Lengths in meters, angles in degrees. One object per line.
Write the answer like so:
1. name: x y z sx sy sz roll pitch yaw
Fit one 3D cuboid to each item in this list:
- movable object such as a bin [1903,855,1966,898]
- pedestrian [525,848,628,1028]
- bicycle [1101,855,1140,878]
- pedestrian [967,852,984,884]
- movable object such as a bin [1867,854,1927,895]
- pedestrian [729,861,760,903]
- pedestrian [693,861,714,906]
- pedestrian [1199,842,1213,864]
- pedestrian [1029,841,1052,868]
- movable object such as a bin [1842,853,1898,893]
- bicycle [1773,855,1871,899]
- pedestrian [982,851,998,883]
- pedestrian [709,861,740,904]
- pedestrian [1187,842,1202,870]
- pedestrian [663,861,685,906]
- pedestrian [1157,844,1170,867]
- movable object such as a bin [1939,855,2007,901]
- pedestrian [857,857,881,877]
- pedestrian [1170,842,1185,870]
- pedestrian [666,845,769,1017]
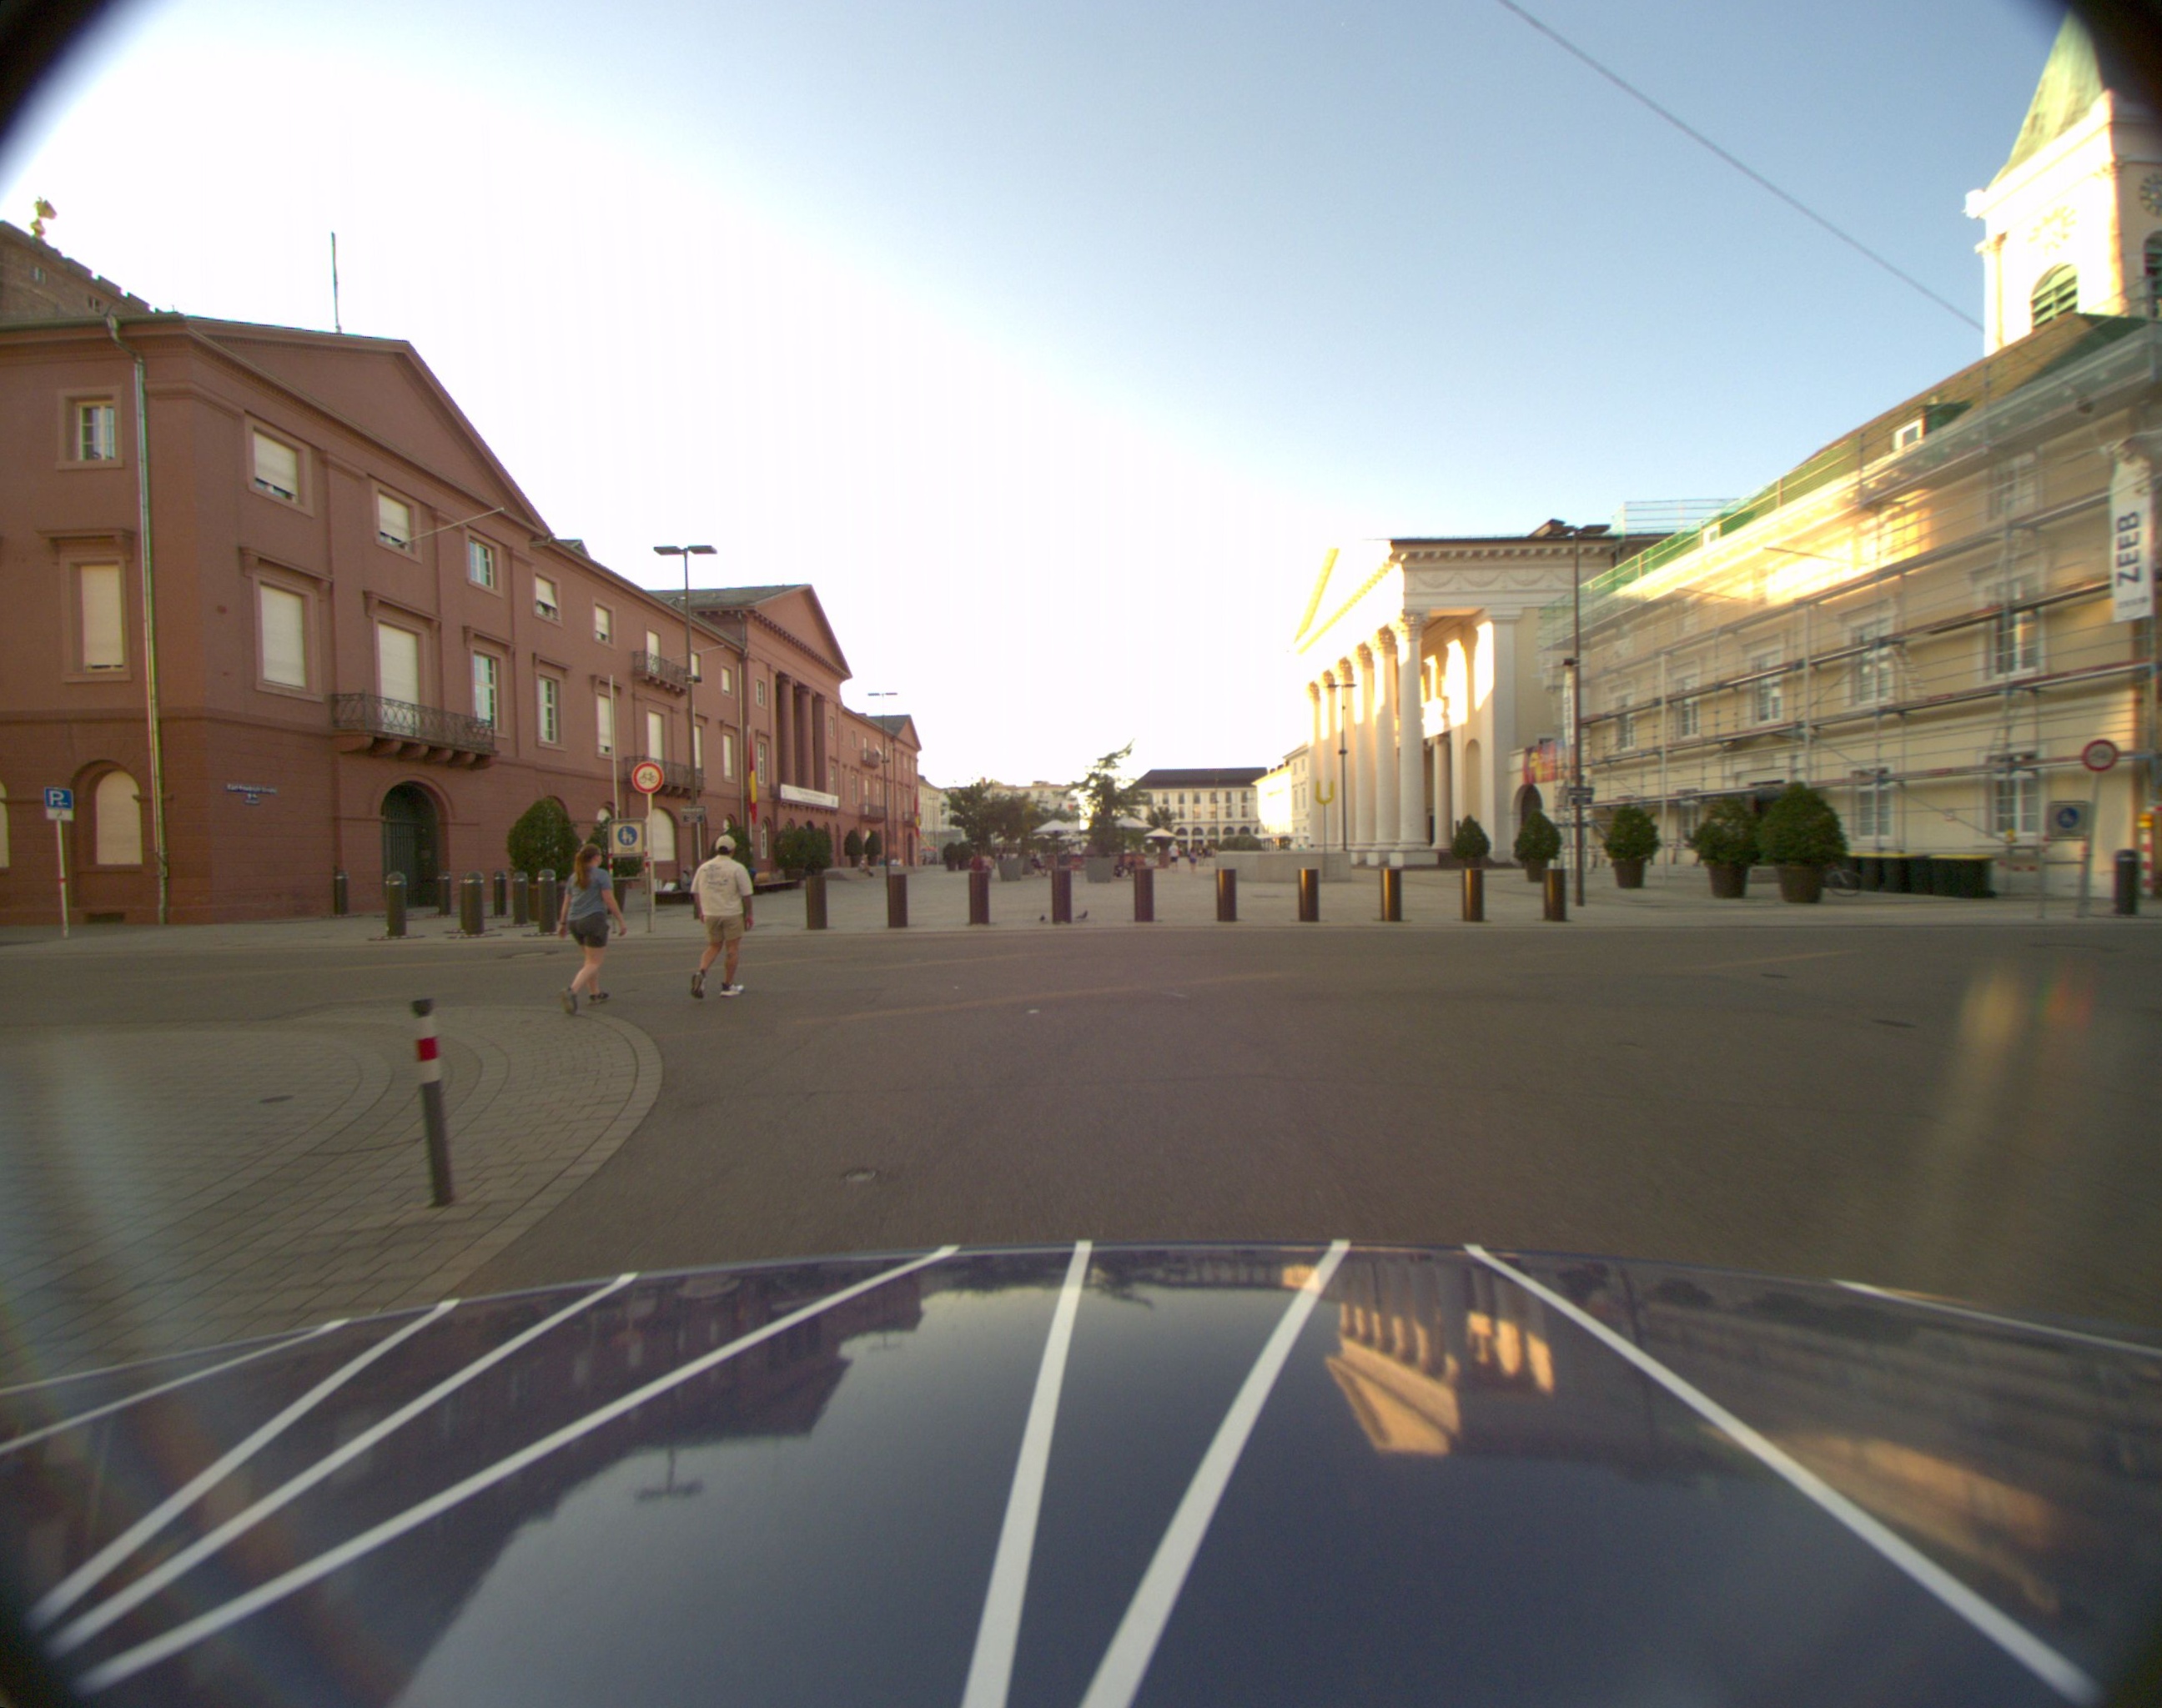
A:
1. movable object such as a bin: 21.943 0.567 19.547 0.811 1.071 0.722 -1 1 4
2. pedestrian: -5.150 0.809 7.763 0.607 1.720 0.719 0 2 44
3. bicycle: 1.950 0.614 37.529 1.683 1.115 0.846 -1 1 36
4. pedestrian: -5.260 0.679 37.892 0.683 1.557 0.652 -1 1 -1
5. movable object such as a bin: 21.914 0.546 20.422 0.811 1.071 0.722 -1 1 4
6. pedestrian: -11.886 0.977 26.859 0.828 1.439 0.585 0 1 32
7. pedestrian: -12.598 0.971 25.365 0.585 1.439 0.829 -2 1 -27
8. pedestrian: 10.698 -0.100 65.099 1.091 1.900 0.881 -1 1 5
9. pedestrian: -3.371 0.039 63.115 1.254 2.222 1.501 -2 1 -31
10. movable object such as a bin: 21.991 0.529 21.189 0.811 1.071 0.722 -1 1 4
11. bicycle: 20.246 0.600 20.819 0.635 1.105 1.849 -2 1 -17
12. pedestrian: -4.541 0.646 37.891 0.683 1.550 0.652 -1 1 -1
13. pedestrian: -12.204 0.972 26.009 0.828 1.439 0.585 0 1 34
14. pedestrian: 7.041 0.129 47.181 0.856 1.720 0.881 -1 1 5
15. pedestrian: -13.309 0.957 24.848 0.585 1.439 0.829 -2 1 -27
16. pedestrian: 6.154 0.086 56.663 0.856 1.720 0.881 -1 1 5
17. movable object such as a bin: 21.877 0.582 18.642 0.811 1.071 0.722 -1 1 4
18. pedestrian: -14.034 0.840 50.282 1.405 1.255 1.326 -1 1 -11
19. pedestrian: 6.057 0.116 47.672 0.856 1.720 0.881 -1 1 5
20. pedestrian: -3.868 0.769 8.095 0.667 1.720 0.767 0 2 44
